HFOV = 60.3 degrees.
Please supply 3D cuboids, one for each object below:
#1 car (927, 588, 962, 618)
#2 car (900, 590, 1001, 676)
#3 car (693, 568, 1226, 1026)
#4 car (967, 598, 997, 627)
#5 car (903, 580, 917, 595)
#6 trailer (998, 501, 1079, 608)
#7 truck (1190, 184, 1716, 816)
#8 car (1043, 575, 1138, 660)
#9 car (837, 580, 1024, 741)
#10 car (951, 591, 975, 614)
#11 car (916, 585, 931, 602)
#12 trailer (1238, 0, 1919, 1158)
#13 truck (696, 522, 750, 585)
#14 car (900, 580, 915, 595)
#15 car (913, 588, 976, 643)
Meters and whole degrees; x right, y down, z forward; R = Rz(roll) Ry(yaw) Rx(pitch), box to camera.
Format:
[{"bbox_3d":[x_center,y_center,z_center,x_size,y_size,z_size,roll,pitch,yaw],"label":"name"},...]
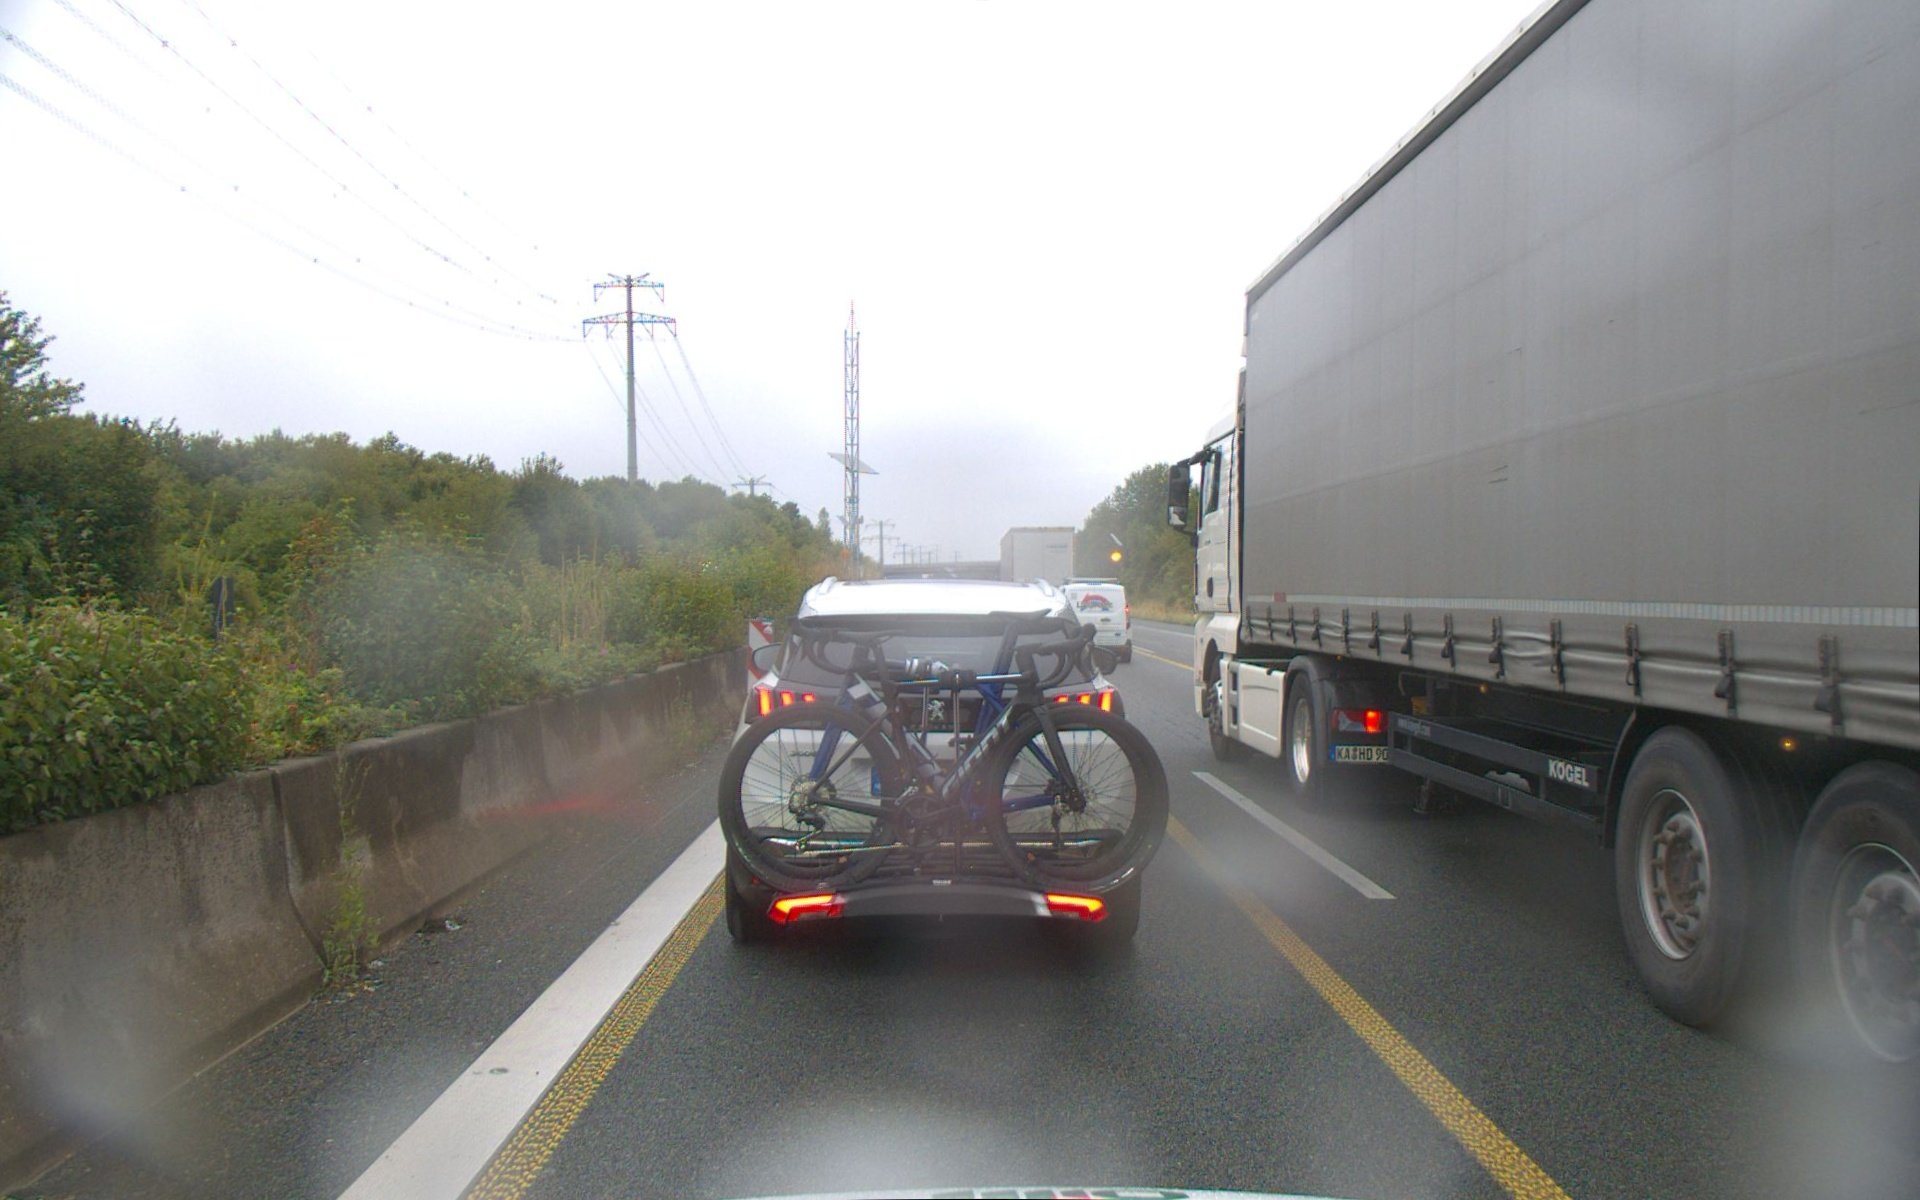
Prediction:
[{"bbox_3d":[-0.816,0.141,87.471,1.812,1.557,3.999,0,0,-1],"label":"car"},{"bbox_3d":[-0.198,0.585,31.857,1.812,1.557,3.999,0,0,-1],"label":"car"},{"bbox_3d":[-0.033,0.664,8.028,1.812,1.557,4.768,0,0,-1],"label":"car"},{"bbox_3d":[1.599,0.899,120.804,2.067,2.008,4.000,0,1,-1],"label":"car"},{"bbox_3d":[-7.022,-1.798,232.248,1.892,2.008,4.000,0,1,-1],"label":"car"},{"bbox_3d":[3.233,-1.798,71.232,2.638,4.148,13.631,0,0,-1],"label":"trailer"},{"bbox_3d":[3.691,-0.674,13.892,2.651,4.211,5.689,0,0,-1],"label":"truck"},{"bbox_3d":[2.997,0.367,38.876,1.792,1.871,4.654,0,0,-1],"label":"car"},{"bbox_3d":[-0.312,0.579,18.070,1.812,1.557,3.999,0,0,-1],"label":"car"},{"bbox_3d":[0.245,0.184,151.781,2.104,2.008,4.000,0,1,-1],"label":"car"},{"bbox_3d":[-4.434,-0.839,201.552,1.892,2.008,4.000,0,1,-1],"label":"car"},{"bbox_3d":[3.779,-0.671,7.151,2.651,4.218,13.729,0,0,-1],"label":"trailer"},{"bbox_3d":[-16.446,-3.150,115.206,2.730,4.093,7.231,-3,0,-1],"label":"truck"},{"bbox_3d":[-6.968,-1.681,219.504,1.892,1.944,4.000,0,1,-1],"label":"car"},{"bbox_3d":[-0.472,0.425,49.153,1.812,1.557,3.999,0,0,-1],"label":"car"}]
